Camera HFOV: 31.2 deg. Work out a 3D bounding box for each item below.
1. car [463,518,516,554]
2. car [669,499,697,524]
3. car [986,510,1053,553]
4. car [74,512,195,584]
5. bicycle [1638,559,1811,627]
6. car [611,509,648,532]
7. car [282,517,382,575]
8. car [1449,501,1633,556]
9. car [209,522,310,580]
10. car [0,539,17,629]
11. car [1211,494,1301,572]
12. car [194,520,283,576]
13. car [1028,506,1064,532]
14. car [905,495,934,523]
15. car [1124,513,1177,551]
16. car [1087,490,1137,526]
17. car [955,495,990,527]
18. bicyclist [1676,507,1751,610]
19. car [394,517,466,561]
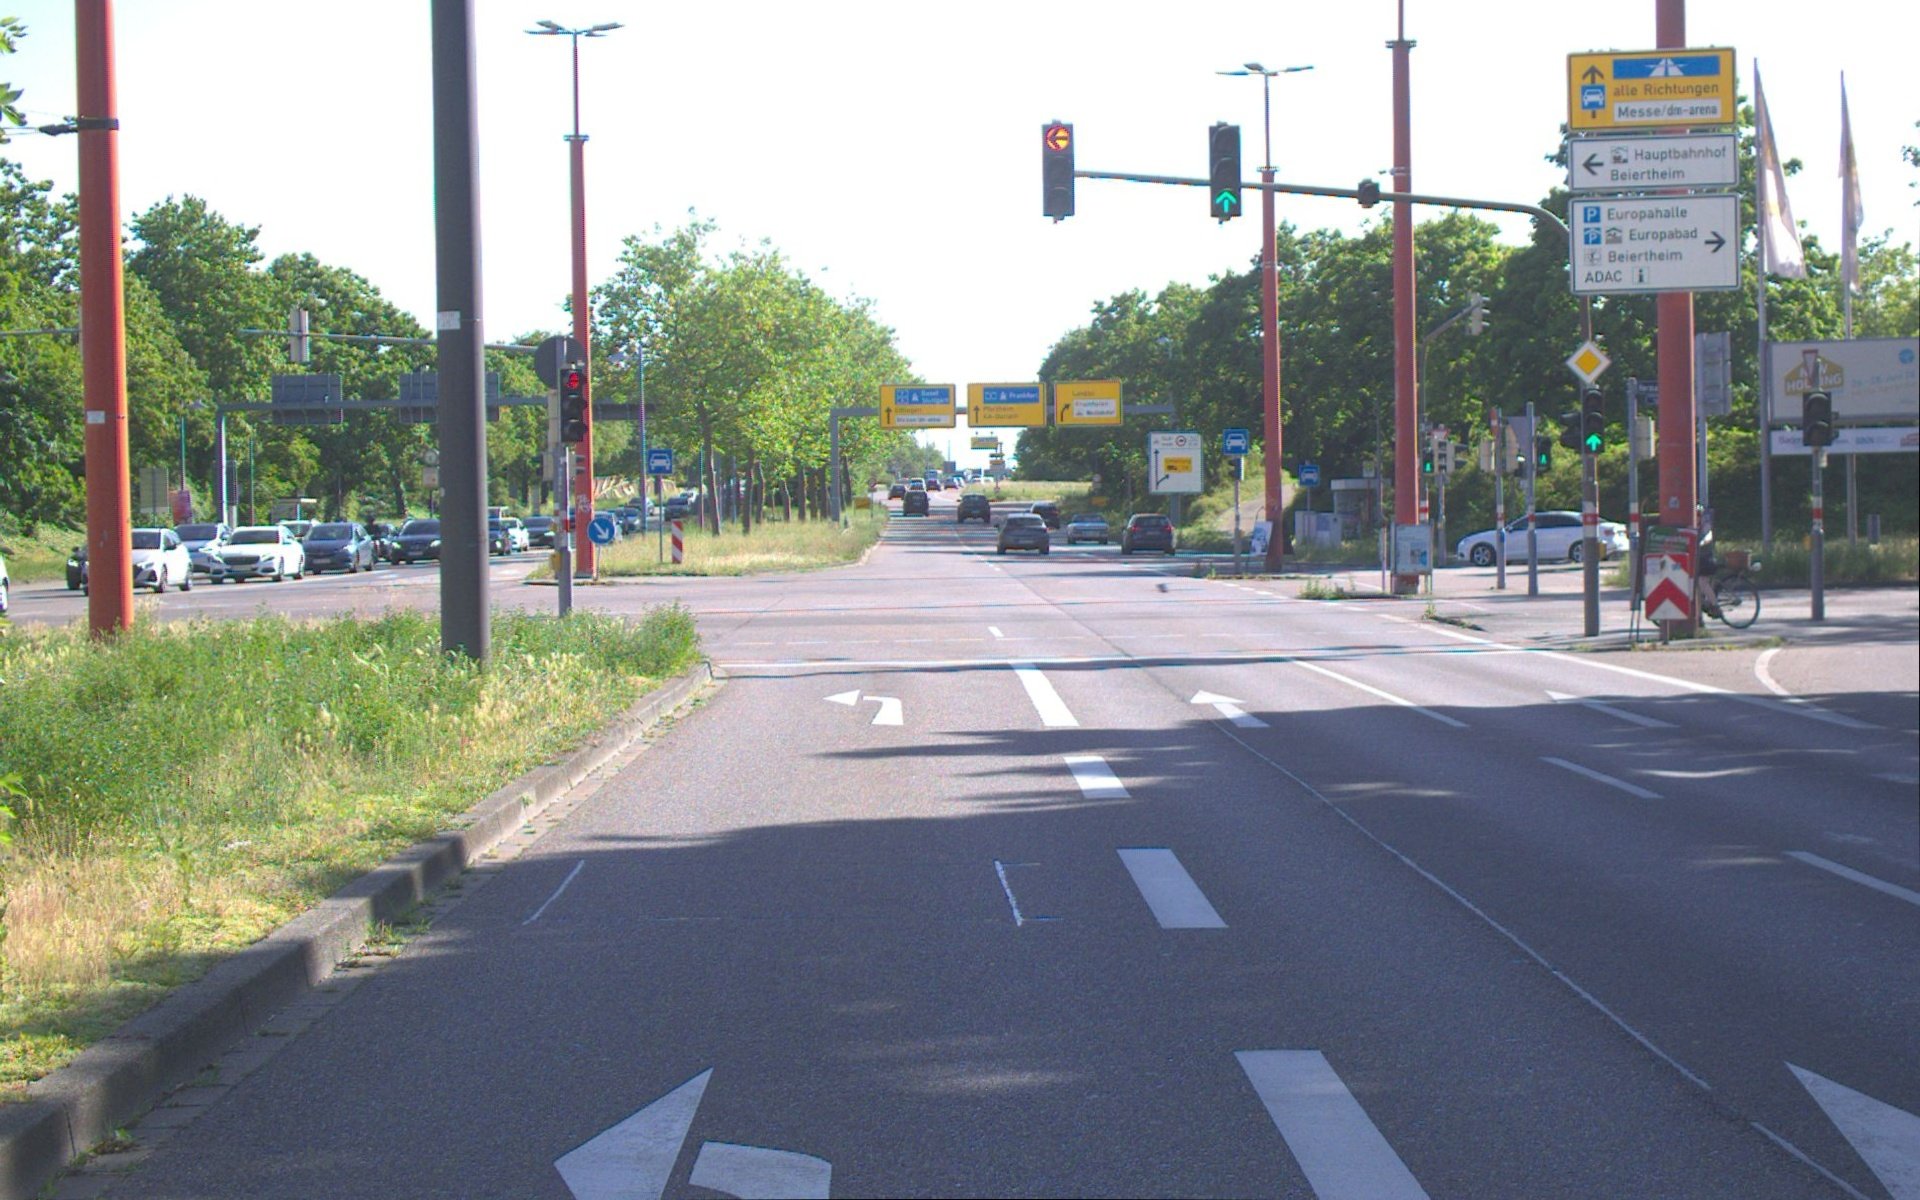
[{"bbox_3d":[-18.412,-2.528,134.734,1.548,1.372,4.263,-1,1,-1],"label":"car"},{"bbox_3d":[-19.450,-6.189,241.104,1.625,1.733,4.000,-1,2,0],"label":"car"},{"bbox_3d":[2.123,-2.458,123.262,1.993,1.491,4.001,-1,1,-4],"label":"car"},{"bbox_3d":[-18.349,-1.183,76.565,1.589,1.467,4.183,-2,2,1],"label":"car"},{"bbox_3d":[10.006,-0.098,45.019,2.161,0.875,0.560,0,1,-12],"label":"bicycle"},{"bbox_3d":[-19.258,-4.623,200.487,2.003,1.303,4.001,-1,1,-3],"label":"car"},{"bbox_3d":[-18.257,-1.597,100.113,1.993,1.589,4.464,-1,1,1],"label":"car"},{"bbox_3d":[15.126,-1.863,89.452,4.382,1.366,2.059,0,1,22],"label":"car"},{"bbox_3d":[-18.251,-1.290,89.743,1.703,1.418,4.643,-1,1,-1],"label":"car"},{"bbox_3d":[-17.961,-0.255,60.311,1.763,1.603,3.758,-1,1,0],"label":"car"},{"bbox_3d":[7.377,-1.678,85.312,1.994,1.881,3.999,0,1,8],"label":"car"},{"bbox_3d":[-20.866,-1.522,99.558,1.876,1.570,4.001,0,1,-2],"label":"car"},{"bbox_3d":[5.051,-4.750,202.144,1.993,1.535,4.000,0,1,-1],"label":"car"},{"bbox_3d":[-2.864,-6.445,243.711,1.993,2.007,4.000,0,1,-2],"label":"car"},{"bbox_3d":[6.889,-2.475,124.581,1.738,1.337,3.082,-1,1,0],"label":"car"},{"bbox_3d":[6.714,-4.044,151.813,1.993,1.535,4.000,0,1,0],"label":"car"},{"bbox_3d":[0.796,-5.725,221.744,2.154,2.007,4.000,-1,1,-1],"label":"car"},{"bbox_3d":[9.861,-0.541,45.015,0.739,1.337,0.708,0,1,-10],"label":"bicyclist"},{"bbox_3d":[-17.939,-2.071,116.482,1.876,1.480,4.606,0,1,-2],"label":"car"}]
